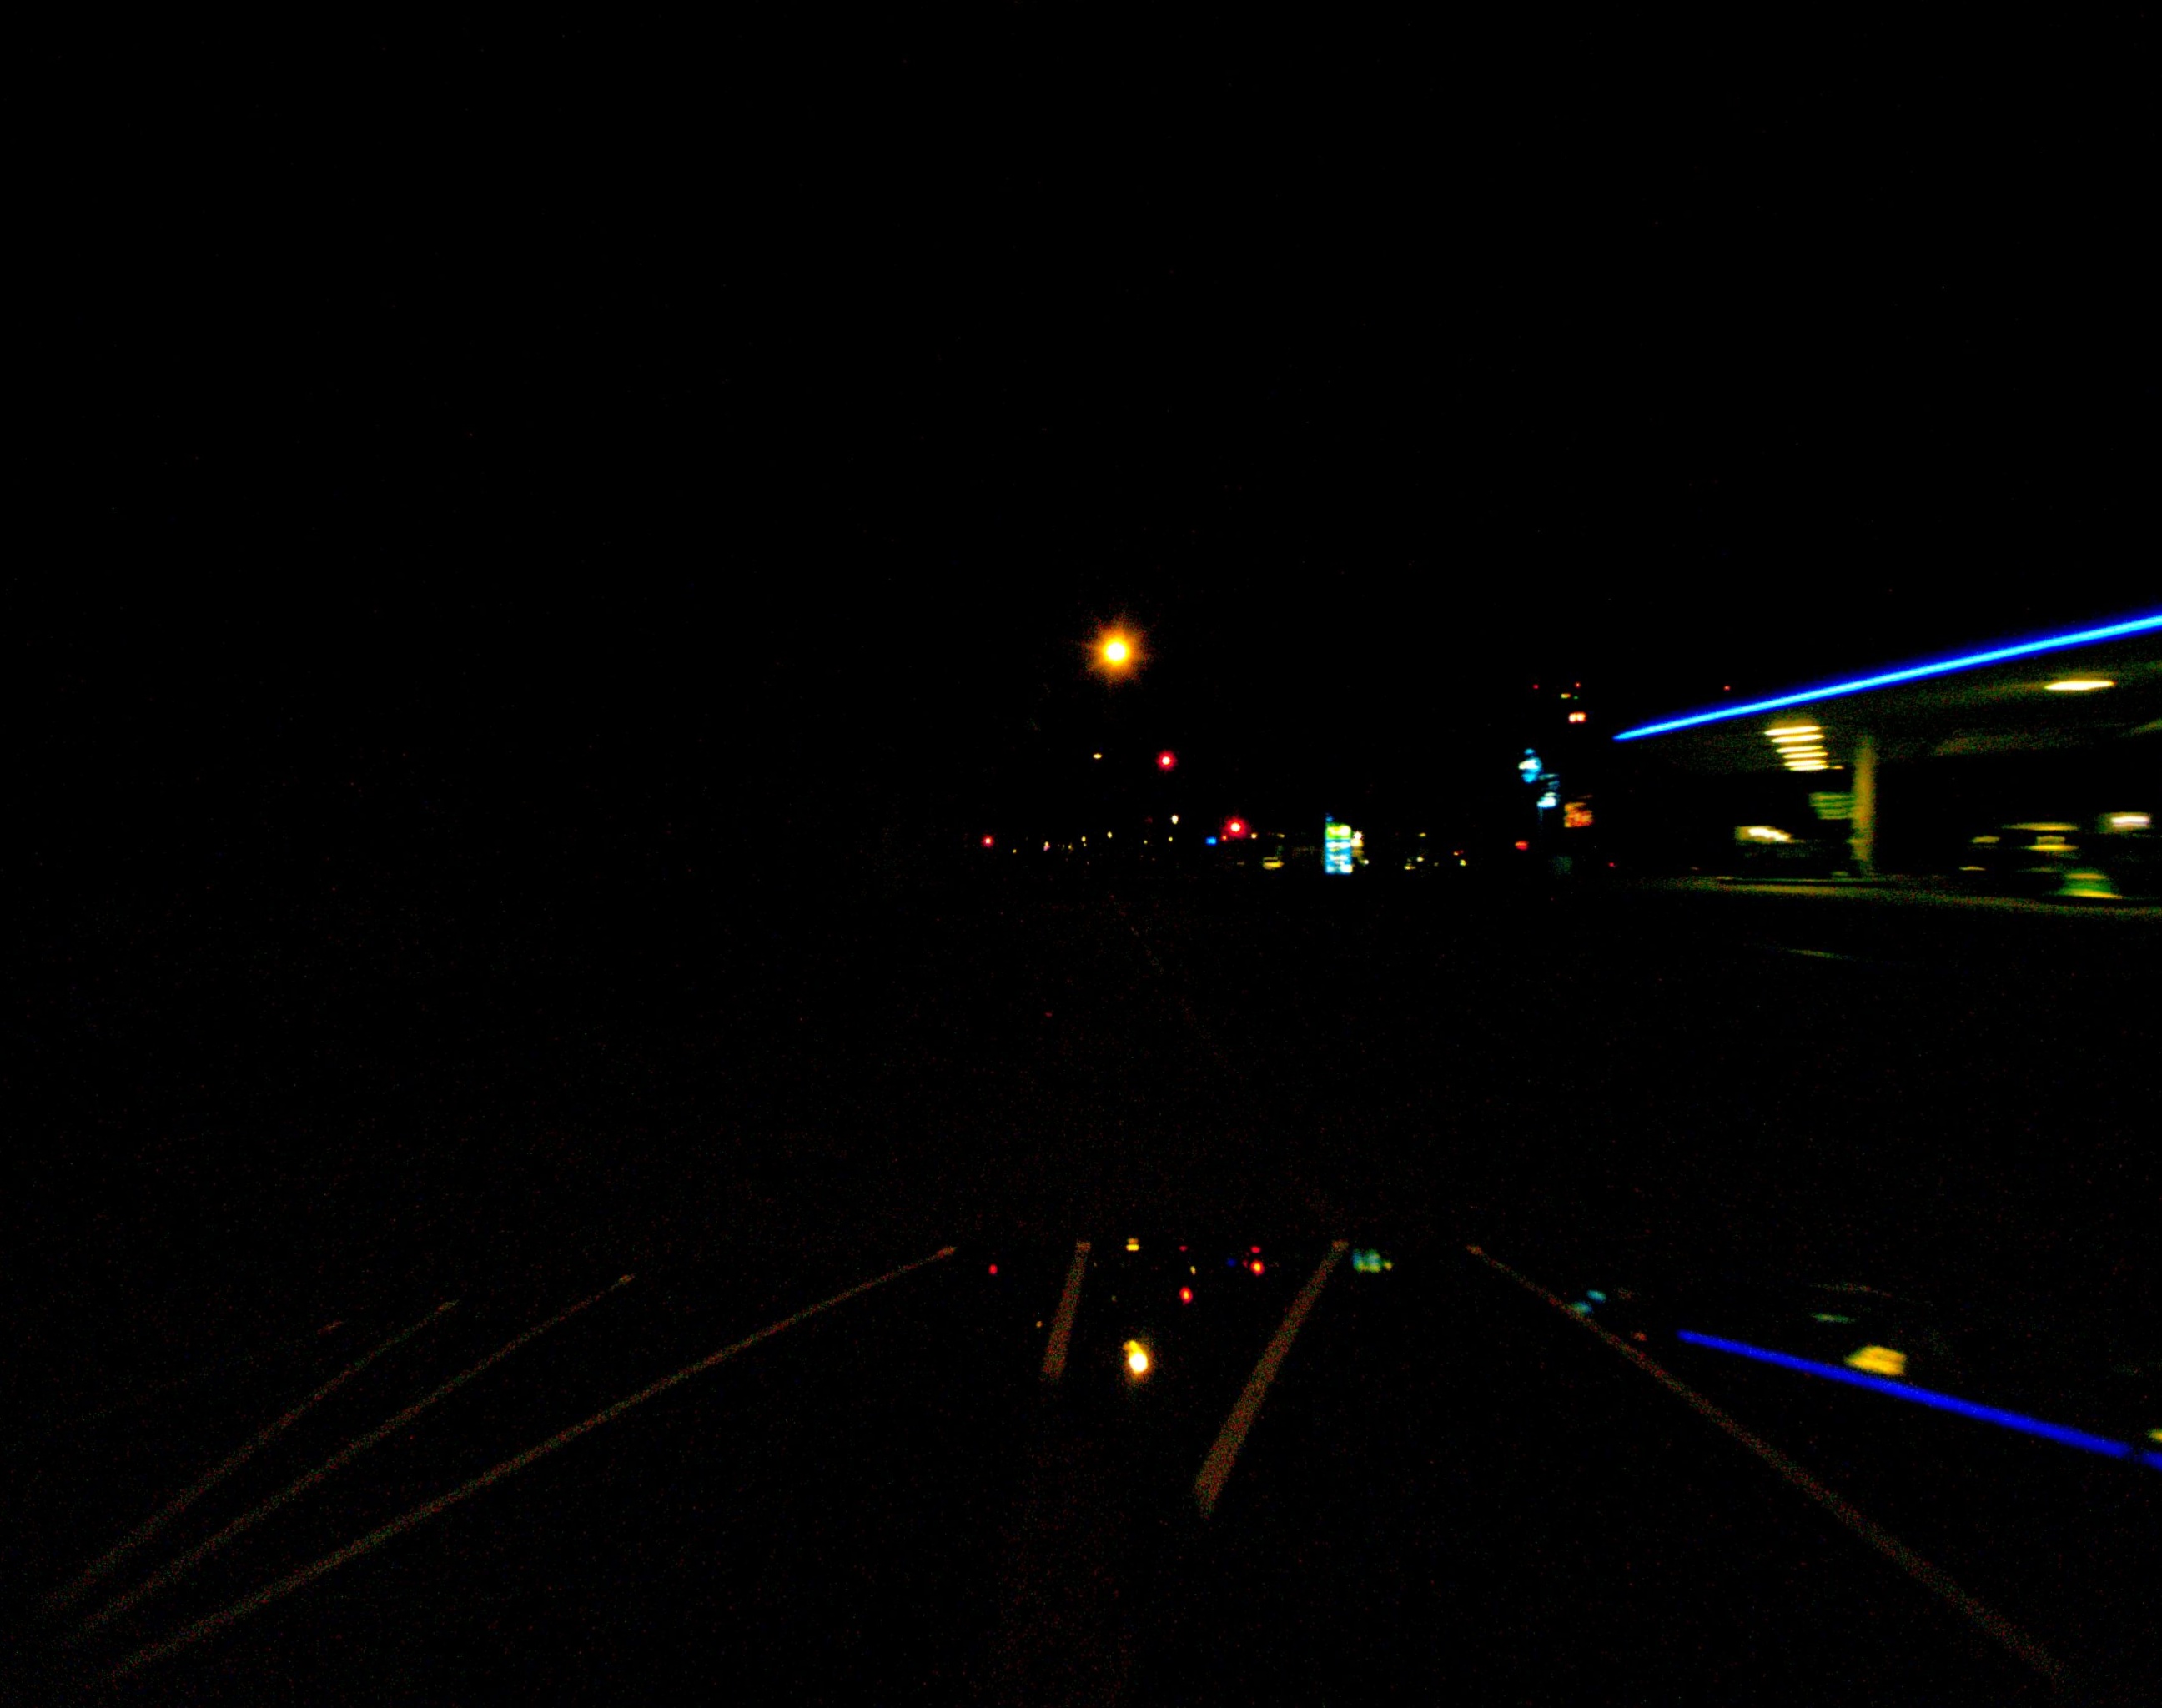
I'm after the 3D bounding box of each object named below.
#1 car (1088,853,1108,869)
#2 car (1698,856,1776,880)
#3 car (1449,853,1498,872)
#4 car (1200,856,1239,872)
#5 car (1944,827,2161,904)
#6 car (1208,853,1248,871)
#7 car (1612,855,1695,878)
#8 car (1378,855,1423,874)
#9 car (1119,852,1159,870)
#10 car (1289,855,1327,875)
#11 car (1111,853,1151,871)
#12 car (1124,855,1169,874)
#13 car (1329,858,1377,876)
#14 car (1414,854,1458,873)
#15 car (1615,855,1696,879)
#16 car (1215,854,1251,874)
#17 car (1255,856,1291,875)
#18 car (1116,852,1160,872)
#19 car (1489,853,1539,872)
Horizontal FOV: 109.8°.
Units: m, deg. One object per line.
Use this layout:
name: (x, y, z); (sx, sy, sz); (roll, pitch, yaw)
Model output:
car: (1.794, 0.730, 80.615); (1.936, 1.646, 3.833); (0, 1, 0)
car: (41.725, 0.869, 48.371); (3.569, 1.403, 1.682); (-2, 1, -1)
car: (31.940, 0.696, 62.022); (1.864, 1.469, 4.086); (-1, 0, 0)
car: (13.920, 0.994, 76.513); (3.576, 1.577, 1.634); (0, 1, -1)
car: (24.087, 0.246, 18.304); (4.357, 1.717, 1.978); (-1, 1, 0)
car: (14.201, 0.738, 73.646); (3.575, 1.689, 1.634); (0, 1, 0)
car: (38.583, 0.846, 51.259); (4.312, 1.550, 1.686); (0, 0, 1)
car: (26.173, 0.836, 62.349); (1.864, 1.469, 4.353); (-1, 0, 0)
car: (5.488, 0.678, 71.567); (3.576, 1.619, 1.620); (0, 1, -3)
car: (18.623, 0.888, 62.593); (1.864, 1.544, 4.069); (-1, 0, 0)
car: (4.980, 0.801, 76.176); (3.848, 1.781, 1.634); (0, 1, -3)
car: (5.727, 0.891, 66.574); (3.763, 1.577, 1.634); (0, 1, -3)
car: (25.229, 1.179, 70.476); (4.281, 1.469, 1.730); (-1, 1, -27)
car: (28.970, 0.777, 62.128); (1.732, 1.469, 4.086); (-1, 0, 0)
car: (36.287, 0.830, 48.050); (3.851, 1.403, 1.736); (-1, 0, -1)
car: (12.406, 0.764, 62.271); (1.999, 1.548, 4.386); (-1, 0, -1)
car: (15.652, 0.901, 62.103); (1.864, 1.452, 4.070); (0, 0, 0)
car: (5.425, 0.784, 73.048); (4.055, 1.879, 1.634); (0, 1, -3)
car: (35.262, 0.661, 62.019); (1.781, 1.469, 4.027); (-1, 0, 0)
